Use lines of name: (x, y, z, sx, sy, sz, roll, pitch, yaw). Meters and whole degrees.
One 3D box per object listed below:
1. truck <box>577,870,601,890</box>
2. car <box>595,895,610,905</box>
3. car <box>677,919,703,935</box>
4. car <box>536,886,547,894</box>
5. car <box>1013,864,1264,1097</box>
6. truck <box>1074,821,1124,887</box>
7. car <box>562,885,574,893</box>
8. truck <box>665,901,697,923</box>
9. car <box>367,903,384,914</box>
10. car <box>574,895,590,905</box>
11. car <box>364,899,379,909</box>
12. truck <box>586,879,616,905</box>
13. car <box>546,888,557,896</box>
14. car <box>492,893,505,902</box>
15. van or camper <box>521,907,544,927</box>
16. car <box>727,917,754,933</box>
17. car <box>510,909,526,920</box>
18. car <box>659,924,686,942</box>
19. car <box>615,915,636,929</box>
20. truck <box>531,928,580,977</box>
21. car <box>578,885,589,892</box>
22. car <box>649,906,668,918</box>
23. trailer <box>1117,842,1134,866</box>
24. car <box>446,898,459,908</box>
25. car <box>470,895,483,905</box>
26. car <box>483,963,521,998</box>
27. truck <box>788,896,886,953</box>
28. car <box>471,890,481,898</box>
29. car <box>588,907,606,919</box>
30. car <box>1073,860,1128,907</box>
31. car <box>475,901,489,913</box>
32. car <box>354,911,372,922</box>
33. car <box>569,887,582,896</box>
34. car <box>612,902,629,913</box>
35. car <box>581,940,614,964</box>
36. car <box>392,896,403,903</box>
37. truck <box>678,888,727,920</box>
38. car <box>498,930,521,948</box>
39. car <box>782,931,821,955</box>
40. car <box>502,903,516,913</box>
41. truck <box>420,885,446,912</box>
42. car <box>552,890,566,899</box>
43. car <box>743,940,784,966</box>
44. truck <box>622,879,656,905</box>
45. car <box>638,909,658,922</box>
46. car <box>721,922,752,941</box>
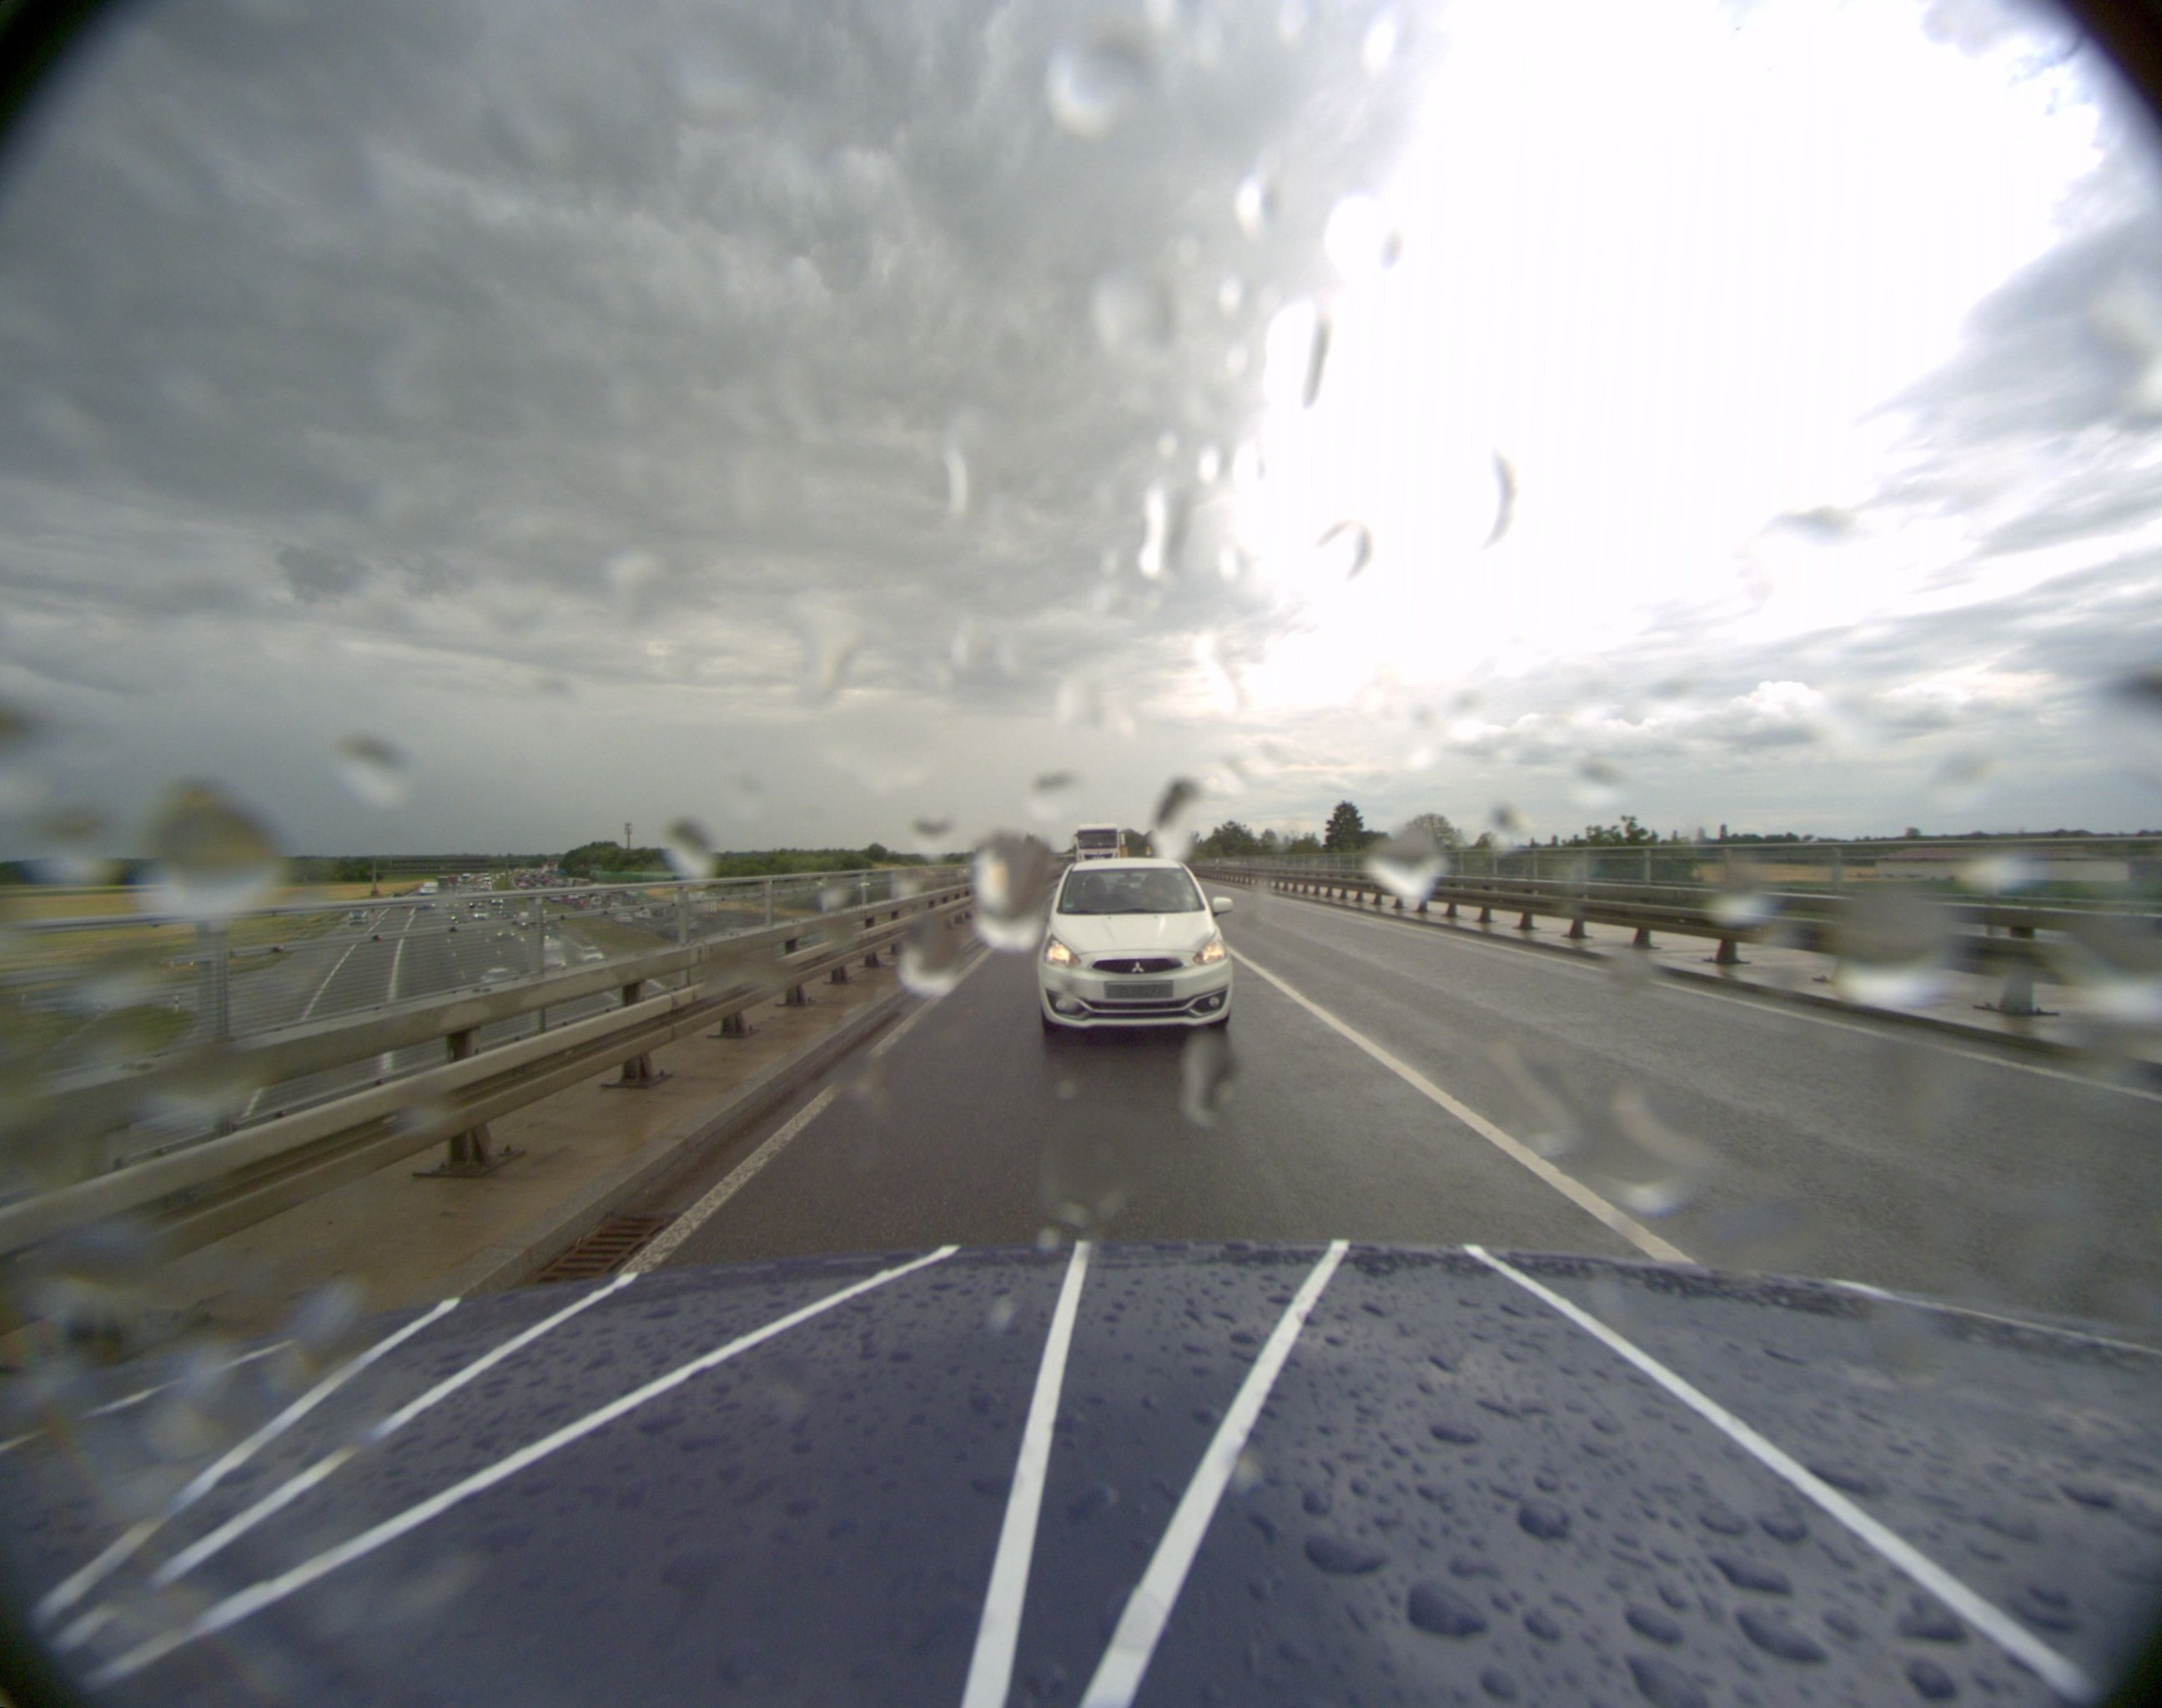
truck: (-140.324, 7.489, 216.486, 3.499, 5.321, 15.588, -3, 1, -40)
car: (-97.208, 9.259, 154.311, 1.860, 1.764, 4.712, -3, 1, -40)
car: (-50.968, 9.458, 99.002, 1.860, 1.659, 4.712, -3, 1, -40)
car: (-139.583, 9.347, 196.511, 1.860, 1.764, 4.712, -3, 1, -40)
car: (0.429, 0.903, 7.319, 1.675, 1.476, 4.129, -2, 0, 1)
truck: (0.979, -0.159, 46.182, 2.630, 3.537, 8.474, -2, 2, 0)
car: (-131.377, 8.969, 194.612, 1.860, 1.764, 4.712, -3, 1, -40)
truck: (-60.492, 8.695, 114.773, 2.216, 2.948, 9.284, -3, 1, -40)
car: (-126.072, 9.644, 135.770, 1.860, 1.659, 4.712, -3, 1, -40)
car: (-95.094, 8.704, 144.805, 1.860, 1.659, 4.712, -3, 1, -40)
car: (-138.658, 9.740, 148.497, 1.860, 1.659, 4.712, -3, 1, -40)
truck: (-107.721, 8.467, 170.206, 3.302, 5.411, 15.588, -3, 1, -40)
car: (-126.926, 9.129, 182.145, 1.860, 1.764, 4.712, -3, 1, -40)
car: (-127.385, 9.449, 166.151, 1.860, 1.659, 4.712, -3, 1, -40)
van or camper: (-78.514, 8.978, 108.734, 2.063, 2.436, 7.311, -3, 1, -40)
car: (-42.935, 8.933, 95.779, 1.860, 1.659, 4.712, -3, 1, -40)
car: (-95.593, 10.257, 128.936, 1.860, 1.659, 4.712, -3, 1, -40)
car: (-47.689, 9.207, 88.685, 1.860, 1.659, 4.712, -3, 1, -40)
car: (-65.066, 9.649, 108.447, 1.860, 1.659, 4.712, -3, 1, -40)
truck: (-44.471, 8.189, 64.191, 2.601, 3.161, 8.374, -3, 1, -40)
car: (-127.176, 8.817, 194.291, 1.860, 1.764, 4.712, -3, 1, -40)
car: (-70.734, 9.634, 127.117, 1.860, 1.659, 4.712, -3, 1, -40)
trailer: (7.821, -0.041, 134.102, 2.689, 4.051, 8.486, -2, 0, 2)
car: (-121.941, 9.432, 147.503, 1.860, 1.659, 4.712, -3, 1, -40)
car: (-121.460, 9.261, 152.609, 1.860, 1.659, 4.712, -3, 1, -40)
car: (-40.276, 8.743, 52.821, 1.818, 1.659, 4.712, -3, 1, -40)
truck: (-24.303, 6.621, 74.739, 3.610, 4.511, 15.589, -3, 1, -39)
car: (-150.104, 9.935, 188.432, 1.860, 1.659, 4.712, -3, 1, -40)
car: (-81.432, 9.919, 127.826, 1.860, 1.659, 4.712, -3, 1, -40)
car: (0.649, 0.941, 26.090, 1.675, 1.366, 4.129, -2, 0, 1)
car: (-104.883, 9.274, 133.017, 1.860, 1.659, 4.712, -3, 1, -40)
car: (-113.471, 9.849, 120.144, 1.818, 1.427, 4.712, -3, 1, -41)
car: (-119.129, 8.818, 178.982, 1.860, 1.764, 4.712, -3, 1, -40)
car: (-82.751, 9.629, 136.376, 1.860, 1.659, 4.712, -3, 1, -40)
car: (-44.234, 8.918, 69.472, 1.818, 1.659, 4.712, -3, 1, -40)
car: (-157.647, 10.482, 175.278, 1.818, 1.427, 4.712, -3, 1, -41)
truck: (-61.355, 7.918, 122.856, 3.610, 4.511, 15.589, -3, 1, -39)
car: (-68.555, 10.180, 91.151, 1.818, 1.659, 4.712, -3, 1, -40)
car: (-25.725, 8.142, 69.804, 1.860, 1.659, 4.712, -3, 1, -40)
car: (-110.168, 10.427, 146.400, 1.860, 1.659, 4.712, -3, 1, -40)
truck: (-128.630, 8.787, 150.969, 2.799, 4.871, 12.724, -3, 1, -36)
car: (-113.190, 8.776, 164.722, 1.860, 1.764, 4.712, -3, 1, -40)
car: (-27.236, 8.440, 65.141, 1.860, 1.659, 4.712, -3, 1, -40)
truck: (-94.479, 8.017, 162.286, 3.302, 5.135, 15.588, -3, 1, -40)
car: (-67.516, 9.563, 118.423, 1.860, 1.659, 4.712, -3, 1, -40)
car: (-38.195, 8.601, 84.192, 1.860, 1.659, 4.712, -3, 1, -40)
